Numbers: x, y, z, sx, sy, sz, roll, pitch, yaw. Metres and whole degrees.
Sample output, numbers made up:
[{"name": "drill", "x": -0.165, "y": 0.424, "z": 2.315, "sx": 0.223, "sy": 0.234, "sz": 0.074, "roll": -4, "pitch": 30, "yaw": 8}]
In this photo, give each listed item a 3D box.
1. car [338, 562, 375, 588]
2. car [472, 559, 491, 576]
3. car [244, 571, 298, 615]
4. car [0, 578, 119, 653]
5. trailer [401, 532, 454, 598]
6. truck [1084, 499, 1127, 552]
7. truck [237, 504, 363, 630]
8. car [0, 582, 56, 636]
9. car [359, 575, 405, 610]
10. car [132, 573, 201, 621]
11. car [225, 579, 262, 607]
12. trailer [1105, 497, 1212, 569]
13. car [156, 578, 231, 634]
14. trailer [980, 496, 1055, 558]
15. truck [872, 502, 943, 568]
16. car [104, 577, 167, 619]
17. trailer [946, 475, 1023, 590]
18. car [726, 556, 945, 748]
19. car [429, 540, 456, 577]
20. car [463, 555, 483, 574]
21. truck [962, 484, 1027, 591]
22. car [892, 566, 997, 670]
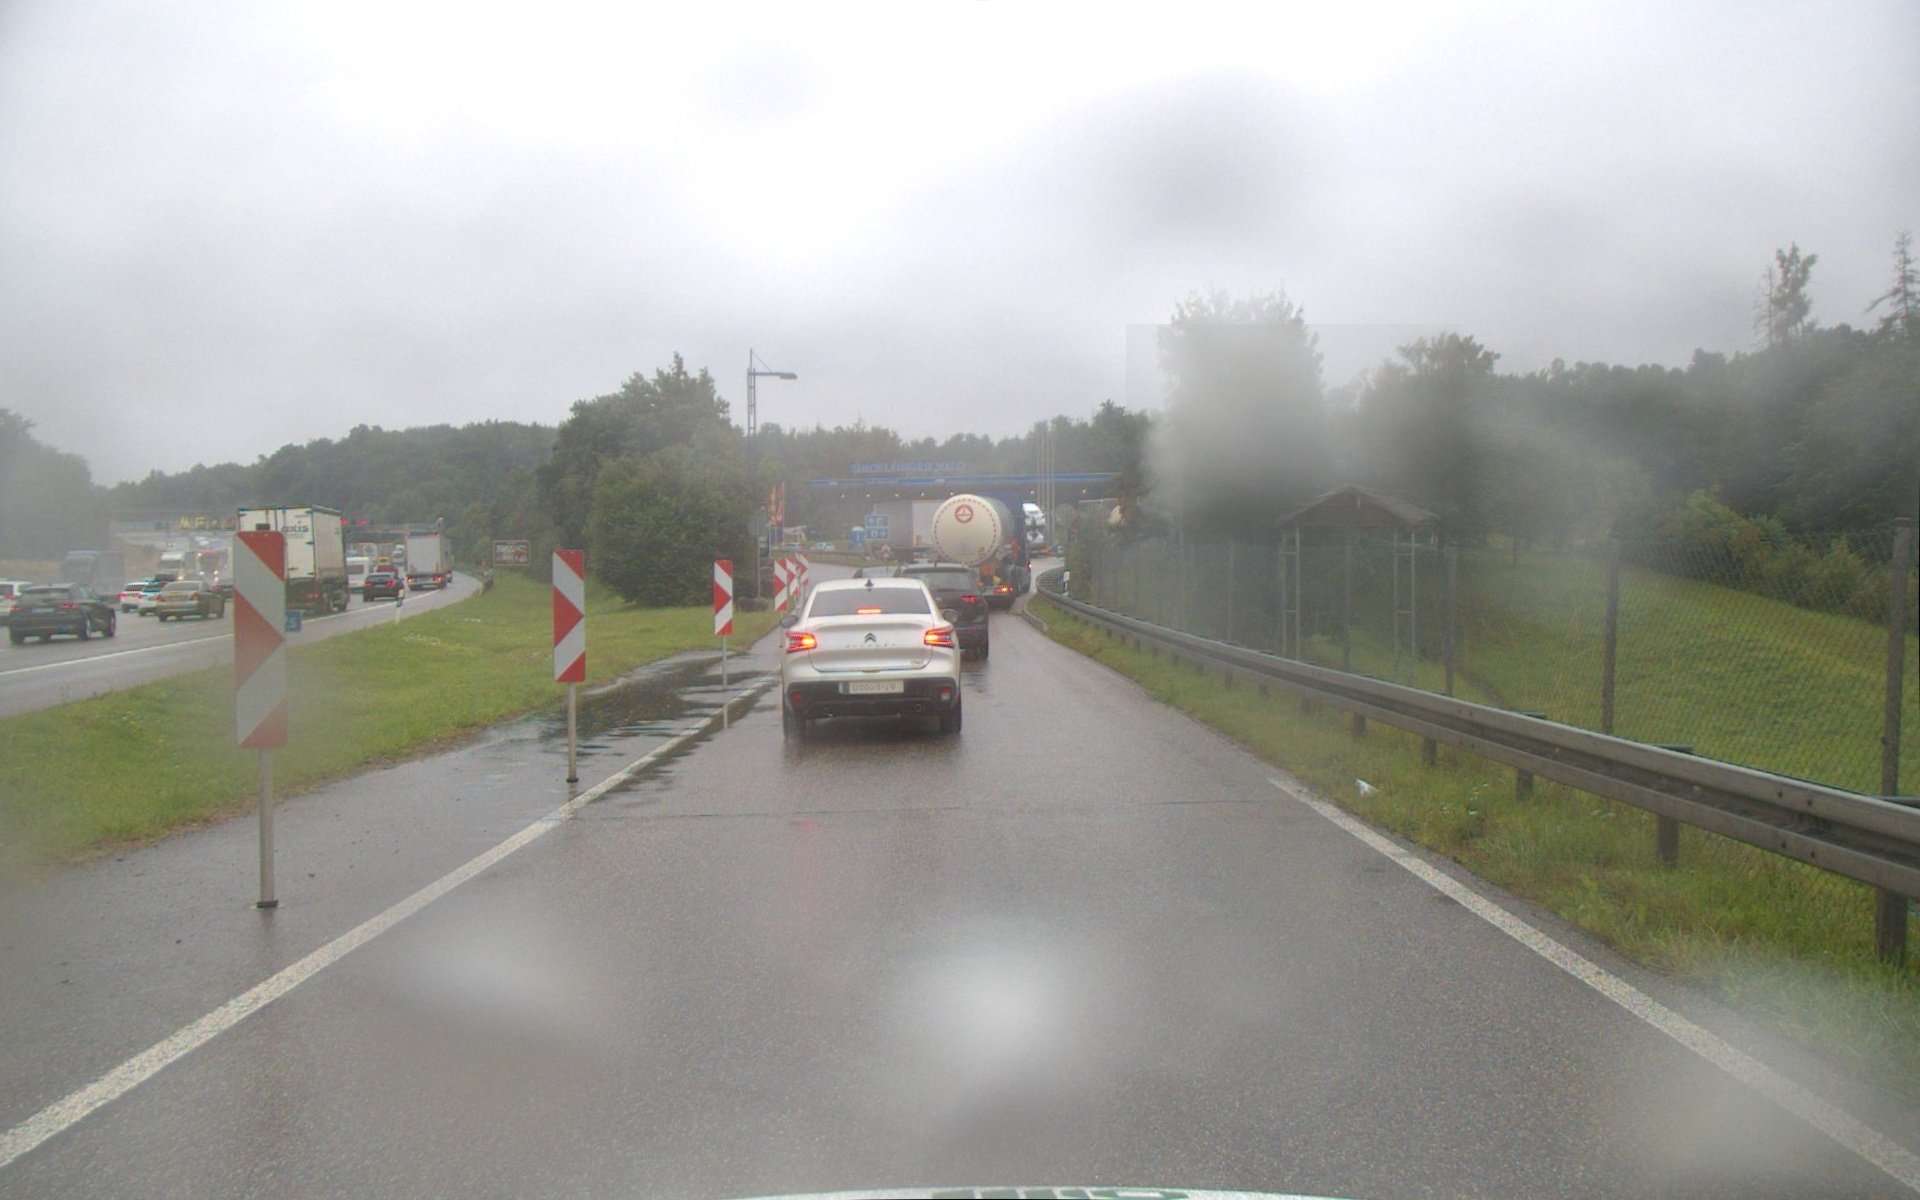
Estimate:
[{"name": "car", "x": -44.296, "y": -1.845, "z": 121.511, "sx": 1.958, "sy": 1.847, "sz": 3.989, "roll": 0, "pitch": 1, "yaw": -12}, {"name": "car", "x": -59.744, "y": -4.031, "z": 206.459, "sx": 1.964, "sy": 2.049, "sz": 3.976, "roll": 1, "pitch": 0, "yaw": -20}, {"name": "car", "x": -33.819, "y": -0.347, "z": 81.299, "sx": 1.962, "sy": 2.048, "sz": 3.982, "roll": -2, "pitch": 1, "yaw": -17}, {"name": "car", "x": -22.953, "y": 0.357, "z": 42.161, "sx": 1.745, "sy": 1.766, "sz": 3.834, "roll": -2, "pitch": 1, "yaw": -13}, {"name": "trailer", "x": -40.825, "y": -2.573, "z": 126.670, "sx": 3.494, "sy": 4.692, "sz": 12.056, "roll": -2, "pitch": 1, "yaw": -18}, {"name": "truck", "x": 10.988, "y": -5.658, "z": 125.024, "sx": 2.380, "sy": 3.871, "sz": 3.995, "roll": -2, "pitch": 3, "yaw": -8}, {"name": "truck", "x": -25.362, "y": -1.210, "z": 64.143, "sx": 2.801, "sy": 4.367, "sz": 11.800, "roll": -2, "pitch": 1, "yaw": -14}, {"name": "car", "x": -37.302, "y": 0.339, "z": 65.103, "sx": 1.960, "sy": 2.048, "sz": 3.986, "roll": -2, "pitch": 1, "yaw": -14}, {"name": "car", "x": -31.411, "y": -0.411, "z": 89.948, "sx": 1.960, "sy": 1.847, "sz": 3.986, "roll": 1, "pitch": 1, "yaw": -14}, {"name": "car", "x": -35.632, "y": -0.176, "z": 74.374, "sx": 1.960, "sy": 2.048, "sz": 3.986, "roll": -1, "pitch": 1, "yaw": -14}, {"name": "car", "x": -46.796, "y": -0.483, "z": 108.044, "sx": 1.670, "sy": 1.818, "sz": 3.770, "roll": 0, "pitch": 1, "yaw": -15}, {"name": "trailer", "x": 10.485, "y": -3.564, "z": 86.302, "sx": 2.090, "sy": 3.499, "sz": 10.244, "roll": 0, "pitch": 3, "yaw": 27}, {"name": "car", "x": -28.601, "y": 0.191, "z": 61.816, "sx": 1.759, "sy": 2.005, "sz": 4.318, "roll": -1, "pitch": 1, "yaw": -15}, {"name": "trailer", "x": 4.050, "y": -5.318, "z": 119.748, "sx": 3.157, "sy": 4.261, "sz": 11.505, "roll": -1, "pitch": 3, "yaw": -10}, {"name": "truck", "x": -3.529, "y": -4.223, "z": 107.218, "sx": 2.329, "sy": 3.940, "sz": 12.420, "roll": -2, "pitch": 3, "yaw": -12}, {"name": "car", "x": -42.244, "y": -0.125, "z": 84.790, "sx": 1.960, "sy": 2.048, "sz": 3.986, "roll": -2, "pitch": 1, "yaw": -14}, {"name": "trailer", "x": 0.903, "y": -2.164, "z": 52.637, "sx": 1.939, "sy": 3.280, "sz": 10.329, "roll": -1, "pitch": 2, "yaw": 4}, {"name": "car", "x": -1.210, "y": 0.432, "z": 16.904, "sx": 1.954, "sy": 1.708, "sz": 3.998, "roll": -1, "pitch": 1, "yaw": -3}, {"name": "car", "x": -50.278, "y": -4.007, "z": 160.708, "sx": 2.336, "sy": 3.546, "sz": 4.790, "roll": 1, "pitch": 0, "yaw": -18}, {"name": "car", "x": -55.382, "y": -4.041, "z": 188.086, "sx": 1.964, "sy": 2.049, "sz": 3.976, "roll": 1, "pitch": 0, "yaw": -20}, {"name": "truck", "x": 1.267, "y": -2.229, "z": 58.598, "sx": 2.010, "sy": 3.592, "sz": 4.749, "roll": -1, "pitch": 2, "yaw": 4}, {"name": "car", "x": -0.300, "y": 0.278, "z": 29.458, "sx": 1.707, "sy": 1.696, "sz": 3.999, "roll": 1, "pitch": 0, "yaw": -1}]
